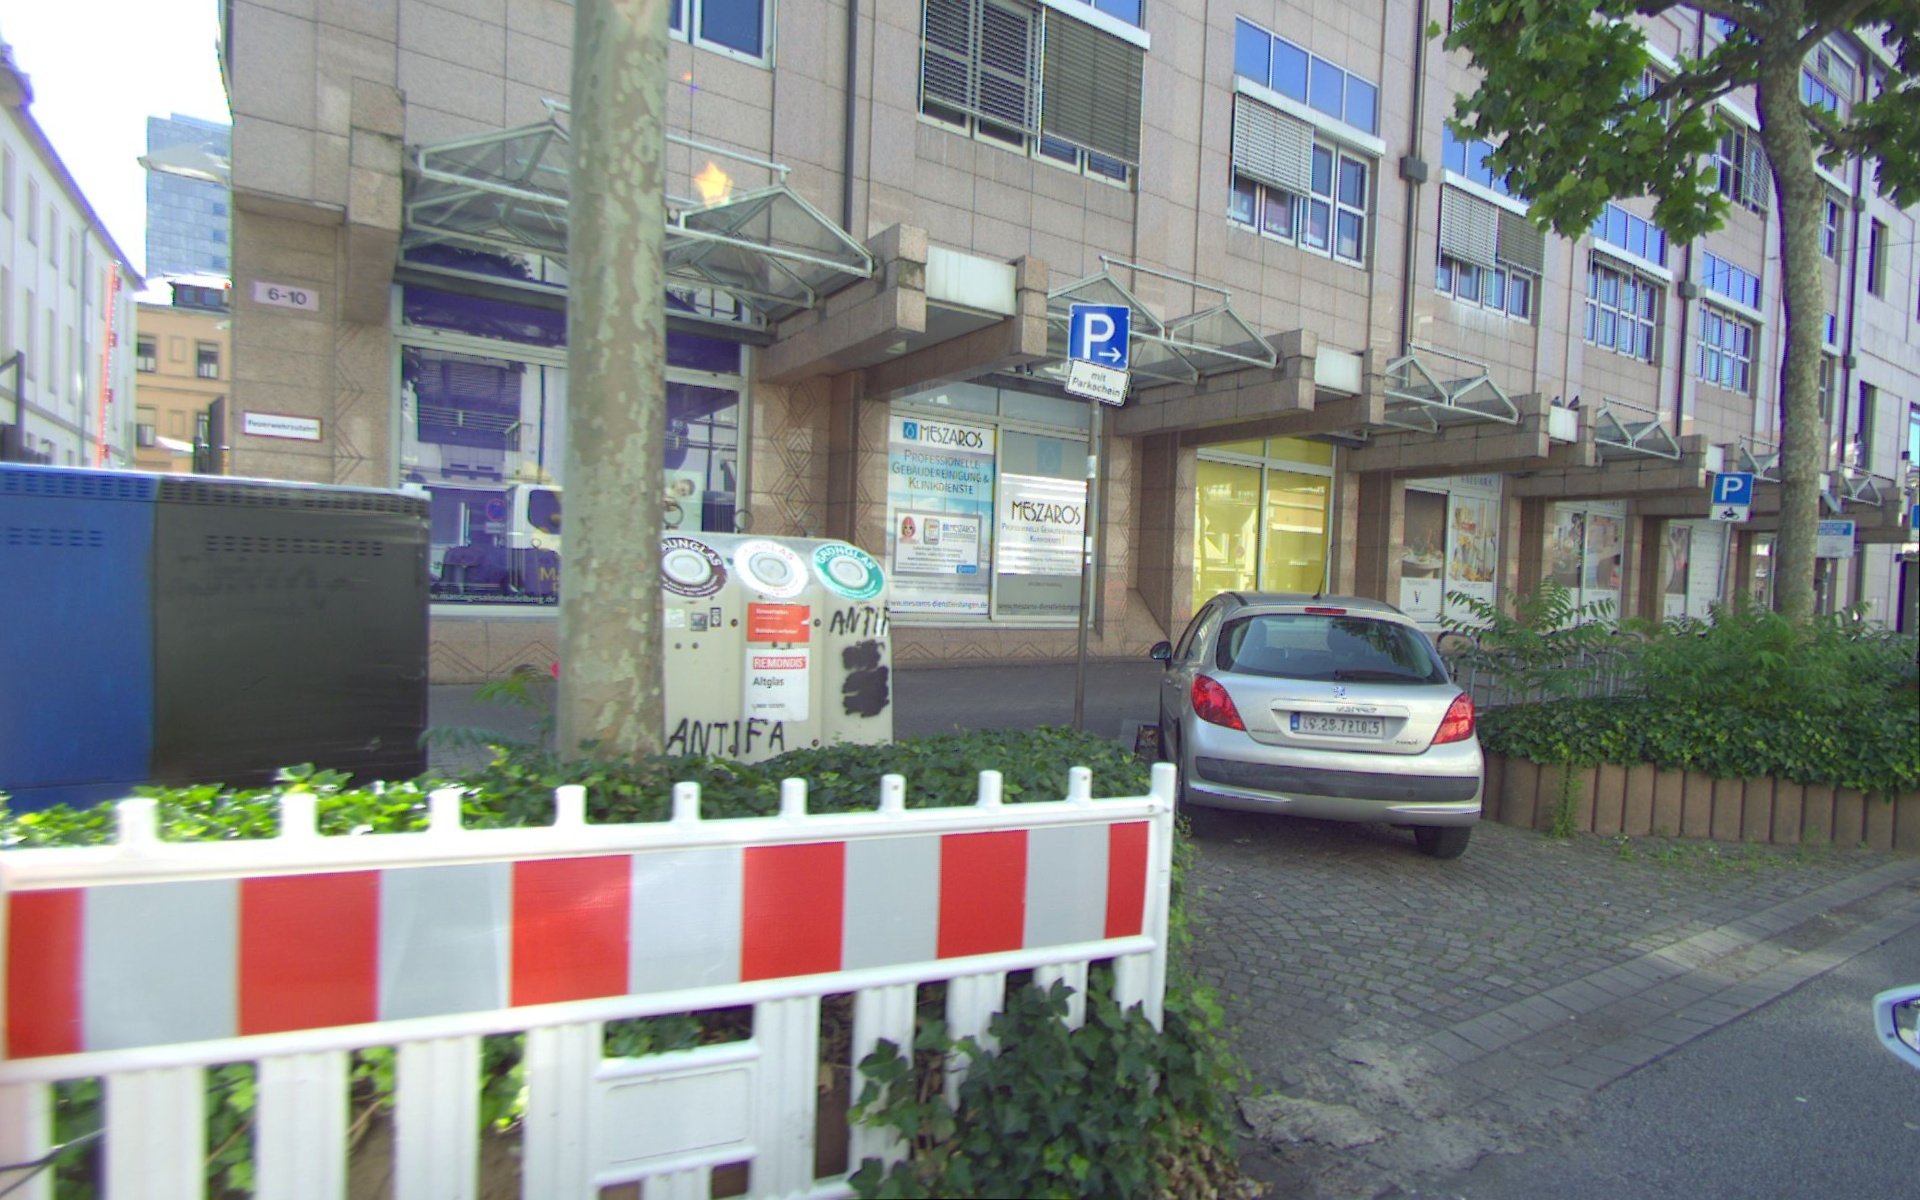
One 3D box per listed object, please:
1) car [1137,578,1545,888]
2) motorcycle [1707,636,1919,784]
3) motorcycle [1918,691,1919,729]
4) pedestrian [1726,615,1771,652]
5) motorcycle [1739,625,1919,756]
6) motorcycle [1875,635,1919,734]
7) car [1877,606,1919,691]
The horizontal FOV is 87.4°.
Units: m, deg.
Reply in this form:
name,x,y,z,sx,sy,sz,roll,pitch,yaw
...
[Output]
name,x,y,z,sx,sy,sz,roll,pitch,yaw
car,2.341,0.645,7.330,1.896,1.515,4.059,2,2,8
motorcycle,8.914,1.049,10.182,0.903,1.185,2.177,2,2,-5
motorcycle,12.998,1.118,12.154,0.747,1.185,1.912,1,2,-12
pedestrian,19.385,0.819,24.690,0.766,0.820,0.562,1,6,-33
motorcycle,10.766,1.012,11.719,1.271,1.285,2.347,1,2,-12
motorcycle,12.280,1.078,11.988,0.716,1.185,1.912,1,2,-12
car,18.841,1.006,17.462,1.950,1.554,4.759,2,2,9
